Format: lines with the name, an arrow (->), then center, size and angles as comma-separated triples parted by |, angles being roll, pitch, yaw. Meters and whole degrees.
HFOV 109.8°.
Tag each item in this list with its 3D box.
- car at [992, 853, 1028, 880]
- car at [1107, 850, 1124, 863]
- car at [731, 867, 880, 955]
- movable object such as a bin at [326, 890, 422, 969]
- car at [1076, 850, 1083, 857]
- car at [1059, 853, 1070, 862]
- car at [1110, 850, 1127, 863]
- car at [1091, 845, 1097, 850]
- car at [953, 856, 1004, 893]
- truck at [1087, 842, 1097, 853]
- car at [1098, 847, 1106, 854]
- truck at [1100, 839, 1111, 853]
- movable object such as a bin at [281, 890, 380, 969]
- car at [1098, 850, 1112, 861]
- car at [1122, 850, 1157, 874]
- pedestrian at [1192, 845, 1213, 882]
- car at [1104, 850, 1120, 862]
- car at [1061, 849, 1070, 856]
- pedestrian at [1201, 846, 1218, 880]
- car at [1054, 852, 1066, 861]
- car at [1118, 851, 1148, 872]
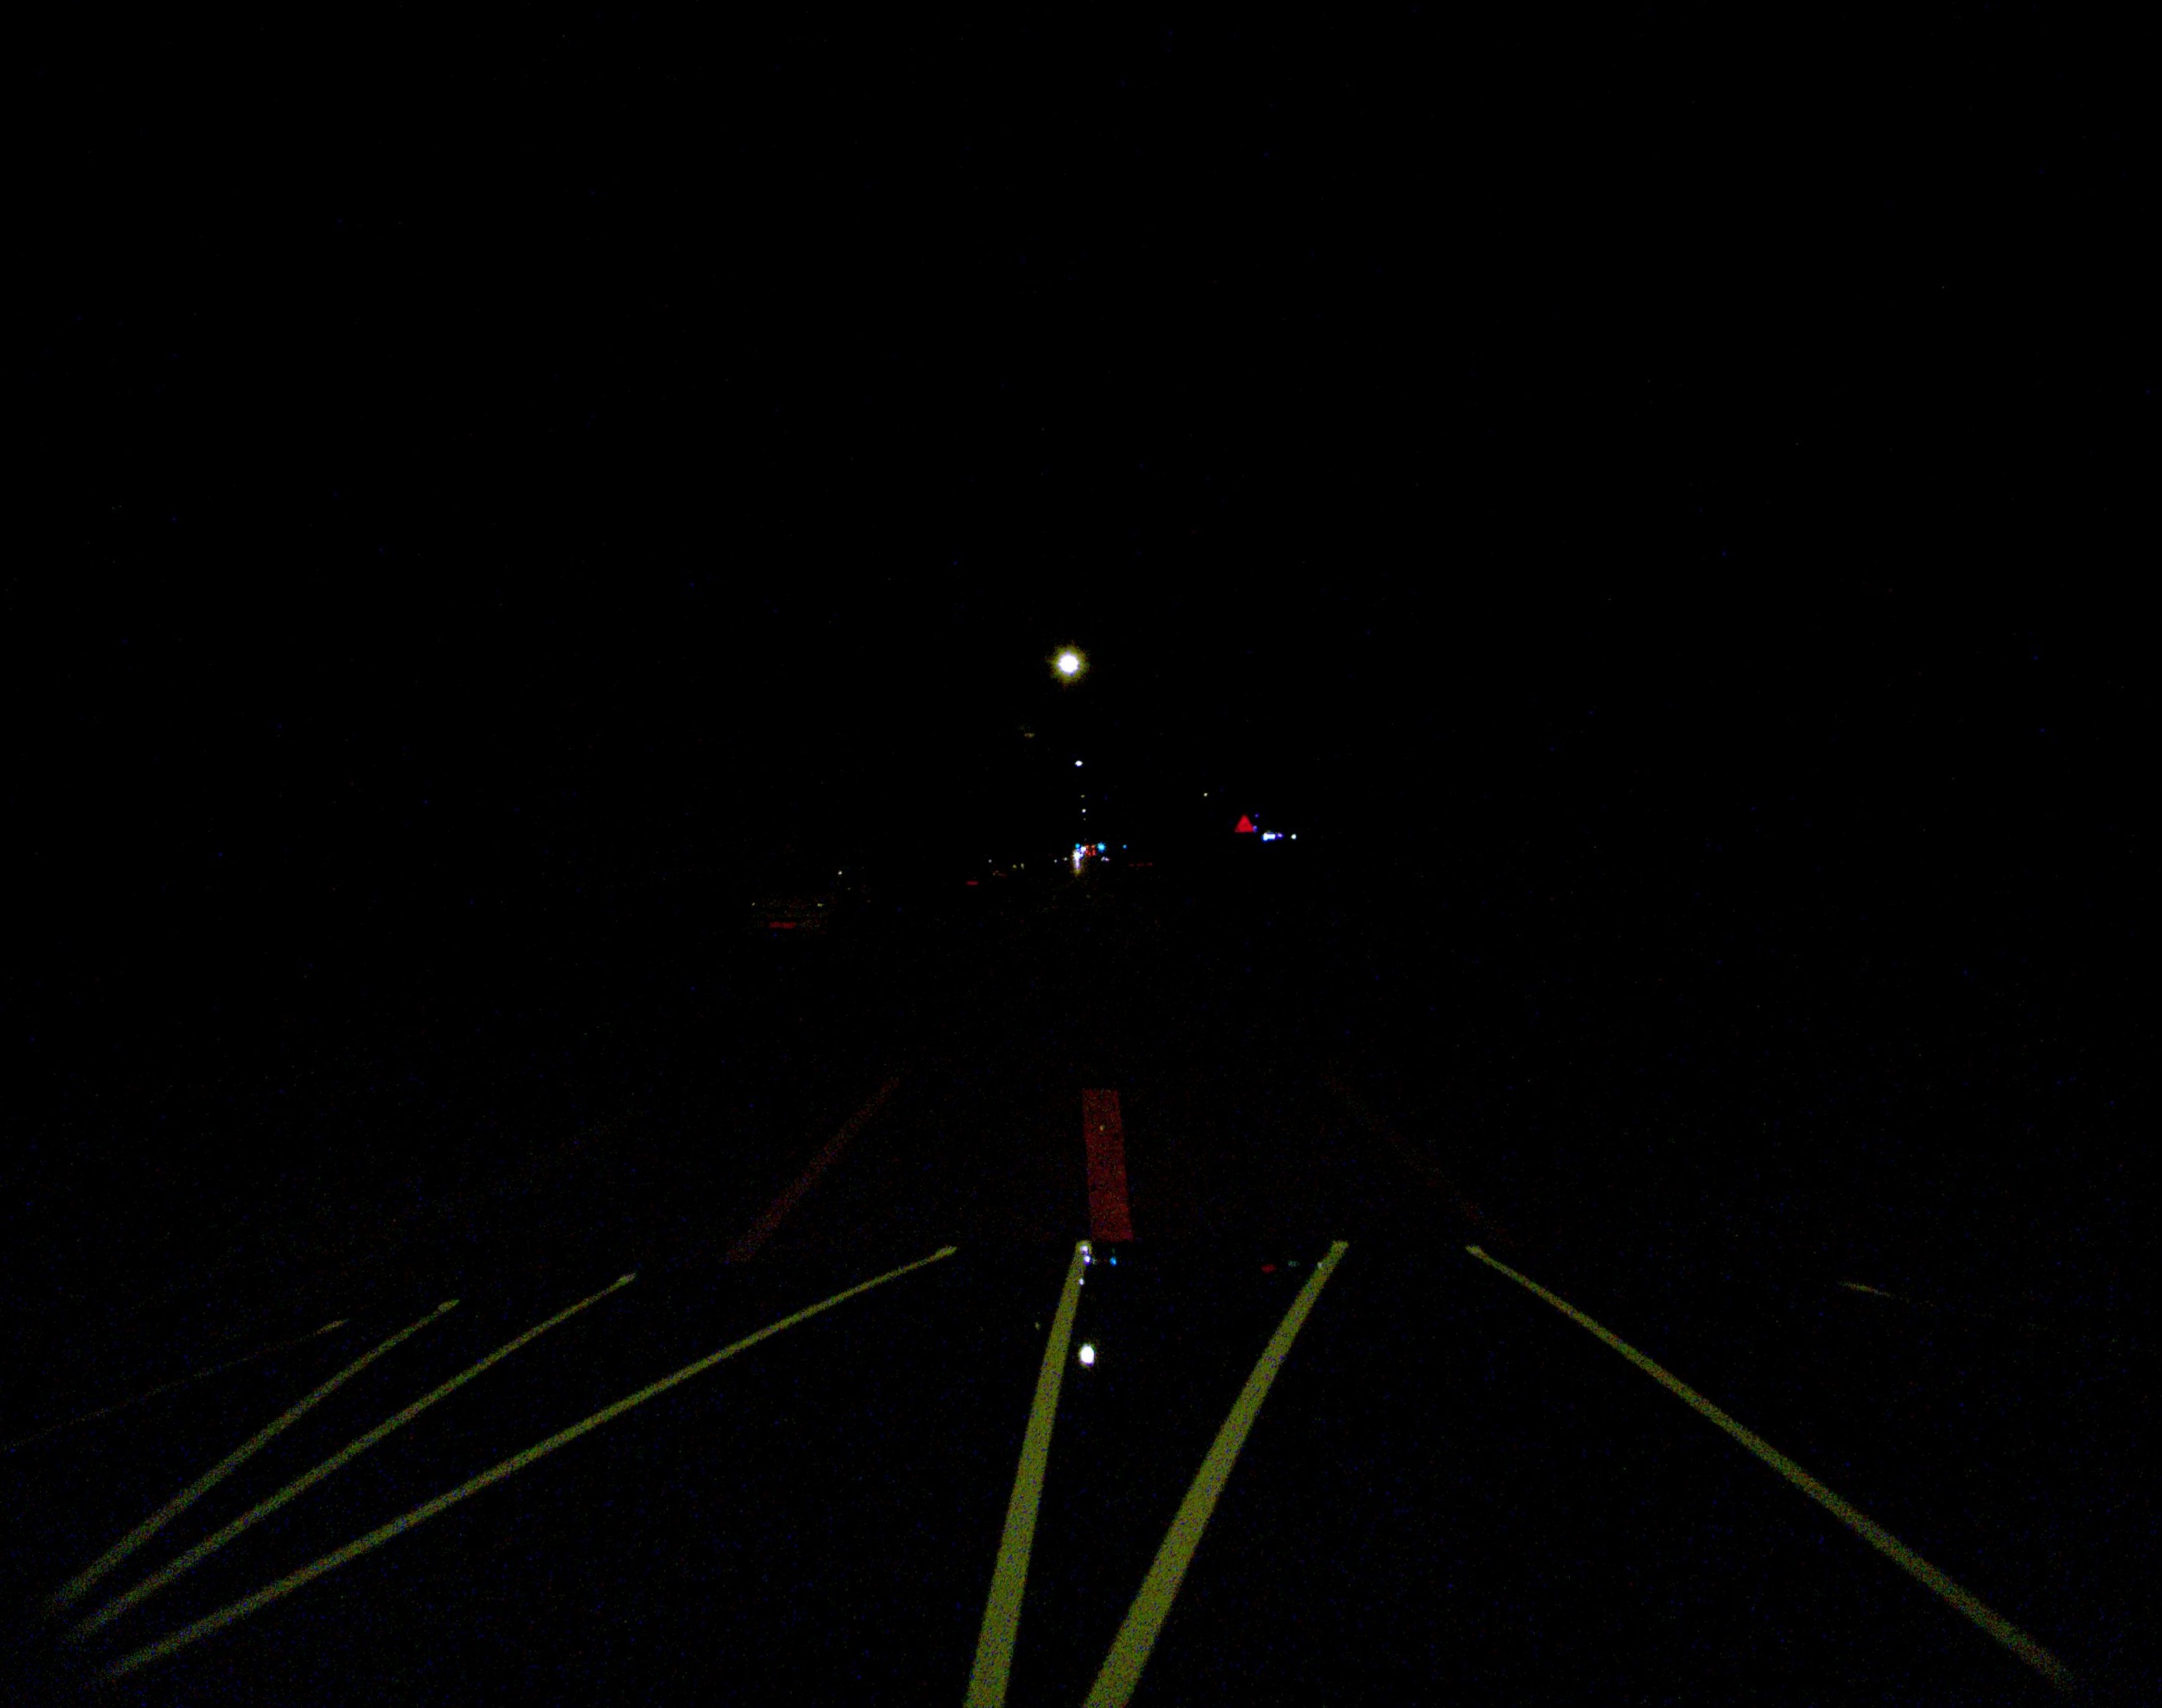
car -> -4.441, 0.772, 47.800 | 1.742, 1.588, 4.359 | 0, 0, 1
car -> 4.742, 0.358, 105.115 | 1.874, 1.635, 3.999 | -2, 0, -3
car -> -5.328, 1.031, 15.193 | 1.672, 1.476, 3.603 | 0, 0, 0
movable object such as a bin -> -10.098, 1.062, 10.882 | 0.609, 1.042, 0.755 | -2, 1, 1
car -> -0.342, -0.182, 200.162 | 1.874, 1.635, 3.999 | -2, 0, 0
car -> -2.961, 0.573, 134.791 | 1.874, 1.407, 3.999 | -2, 0, 0
car -> 4.984, 0.331, 100.859 | 1.874, 1.635, 3.999 | -2, 0, -3
car -> 4.001, -1.929, 230.383 | 1.873, 1.635, 4.000 | -2, 0, 1
car -> -4.558, 0.872, 34.279 | 1.865, 1.544, 4.044 | 0, 0, -1
truck -> 3.665, -2.154, 254.393 | 3.222, 3.360, 8.850 | -2, 0, 1
car -> 5.027, -0.754, 180.303 | 1.873, 1.551, 4.353 | -2, 0, 1
truck -> 4.991, -1.620, 155.498 | 2.084, 2.562, 6.873 | -2, 0, 1
movable object such as a bin -> -10.725, 1.063, 10.882 | 0.609, 1.042, 0.755 | -2, 1, 1
car -> 3.748, 0.210, 119.485 | 1.874, 1.635, 3.999 | -2, 0, -3
car -> 3.982, 0.518, 52.320 | 1.864, 1.524, 4.587 | -4, 0, -1
pedestrian -> 5.712, 0.432, 35.730 | 0.744, 1.662, 1.103 | -2, 1, 0
car -> 4.460, 0.300, 110.053 | 1.874, 1.635, 3.999 | -2, 0, -3
car -> -3.295, -0.378, 163.660 | 1.874, 1.407, 3.999 | -2, 0, 0
pedestrian -> 6.737, 0.459, 39.894 | 0.670, 1.716, 0.866 | -2, 1, -2
car -> -3.556, 0.399, 128.454 | 1.874, 1.407, 3.999 | -2, 0, 0
car -> 3.905, 0.561, 57.834 | 1.864, 1.458, 3.896 | -4, 0, -1
